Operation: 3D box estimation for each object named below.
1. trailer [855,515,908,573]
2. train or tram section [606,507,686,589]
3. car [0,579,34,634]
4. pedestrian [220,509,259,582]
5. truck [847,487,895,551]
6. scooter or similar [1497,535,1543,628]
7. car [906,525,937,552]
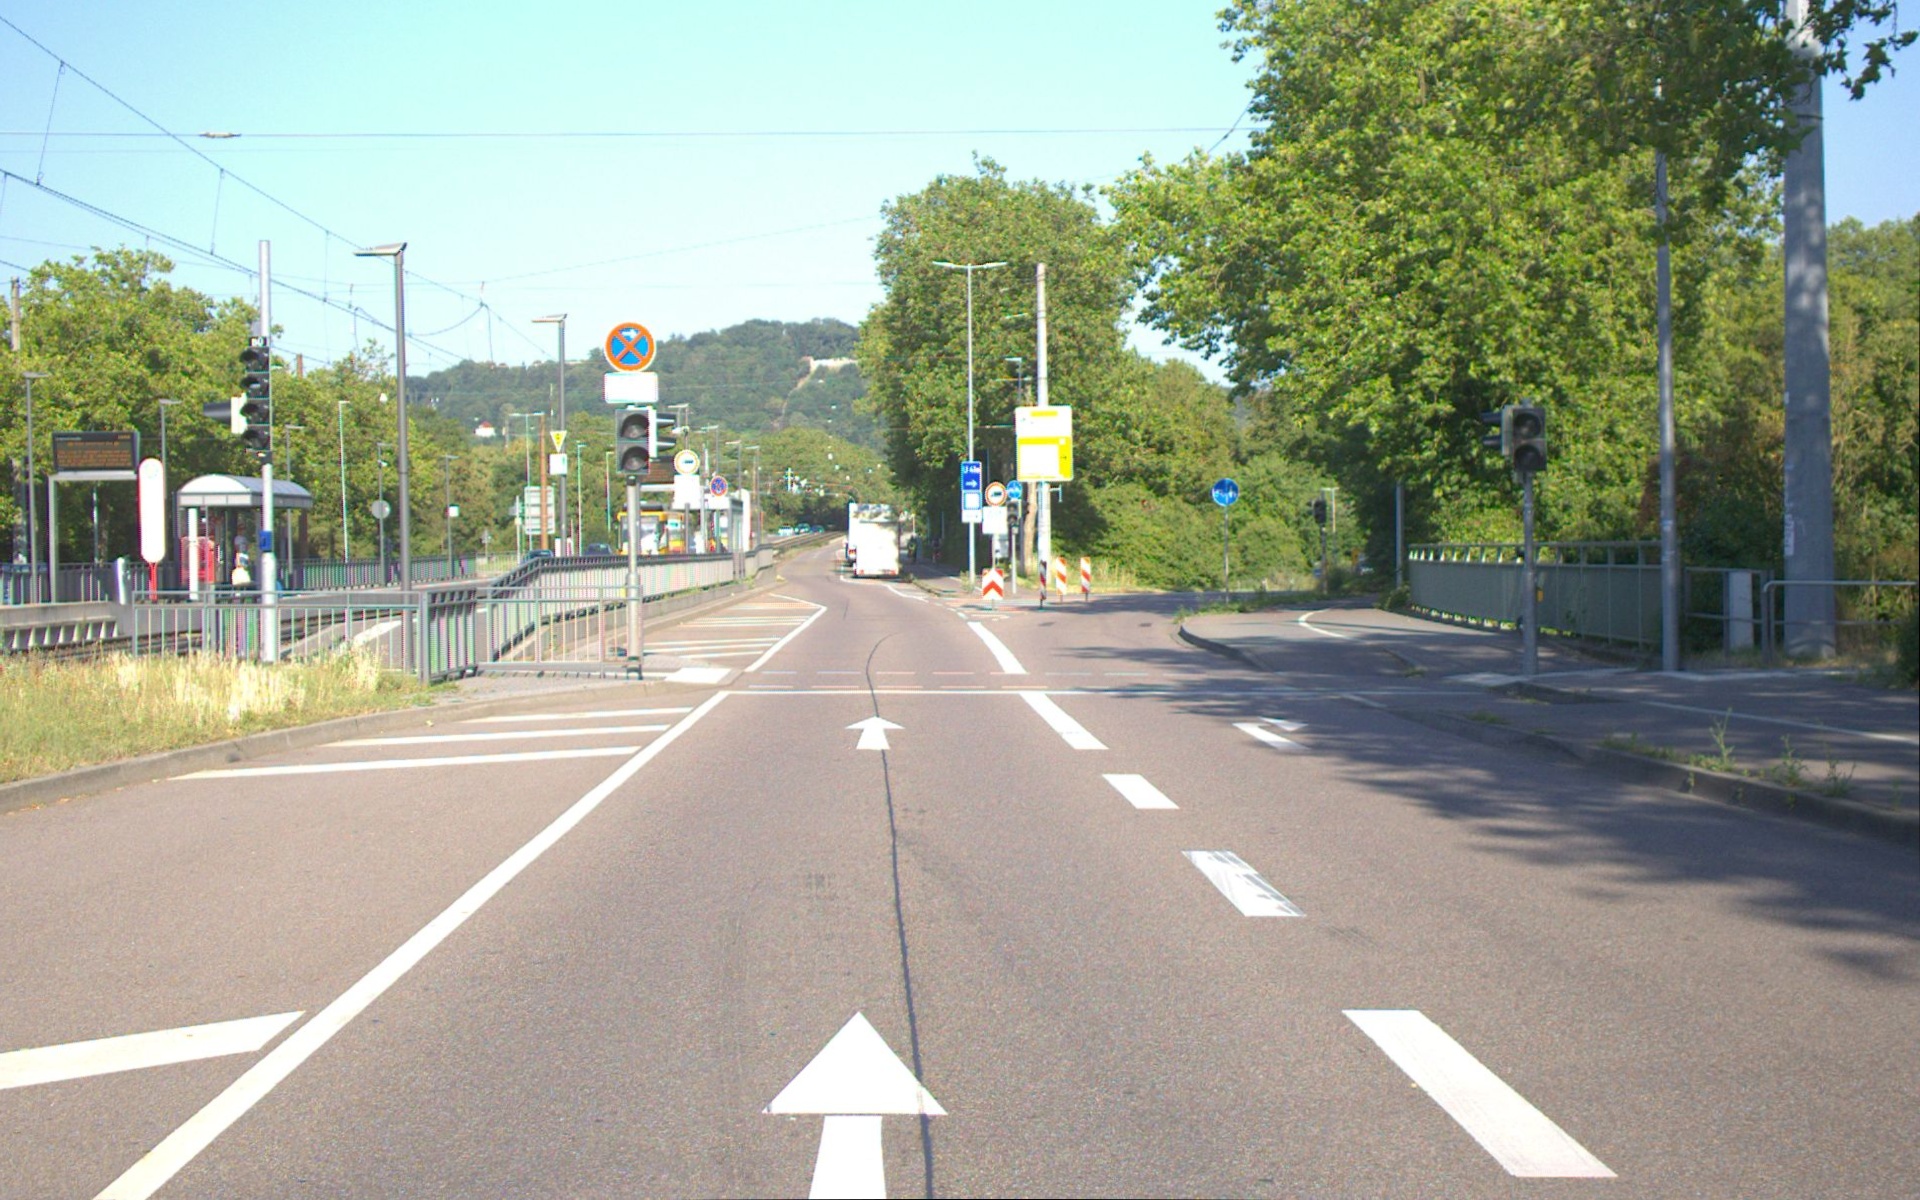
[{"bbox_3d":[-3.694,-2.643,162.439,2.251,2.685,5.947,0,1,1],"label":"trailer"},{"bbox_3d":[-15.914,-2.684,175.244,2.827,3.992,15.876,1,1,-1],"label":"train or tram section"},{"bbox_3d":[-26.529,0.174,93.289,1.732,1.441,4.000,-1,1,-1],"label":"car"},{"bbox_3d":[-17.377,-1.322,82.896,0.700,1.751,0.587,1,1,35],"label":"pedestrian"},{"bbox_3d":[-5.493,-4.941,210.075,2.741,3.770,10.090,1,1,-2],"label":"truck"},{"bbox_3d":[7.806,-0.266,47.952,0.426,1.270,1.083,-1,1,-1],"label":"scooter or similar"},{"bbox_3d":[-2.102,-3.369,188.581,1.653,1.432,3.777,0,1,0],"label":"car"}]
